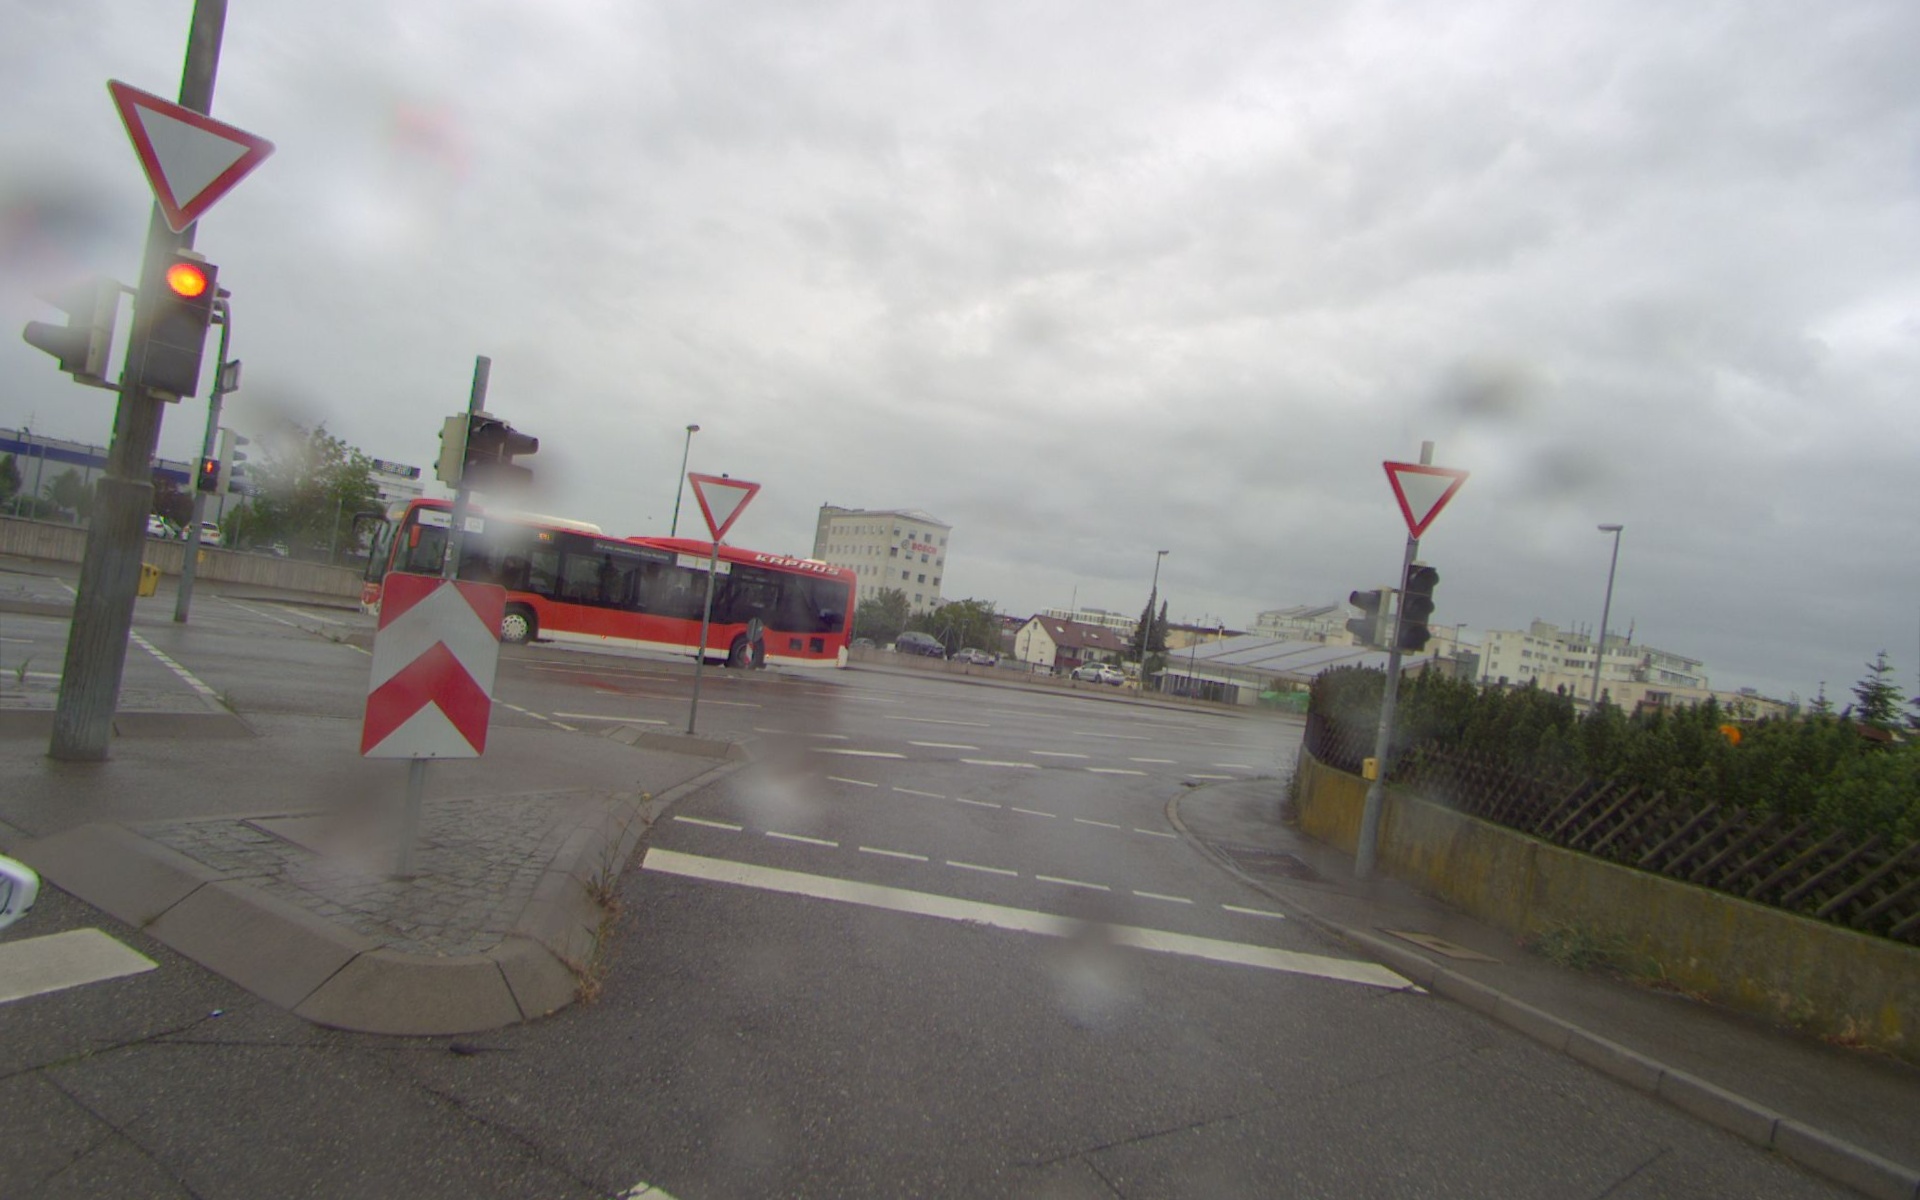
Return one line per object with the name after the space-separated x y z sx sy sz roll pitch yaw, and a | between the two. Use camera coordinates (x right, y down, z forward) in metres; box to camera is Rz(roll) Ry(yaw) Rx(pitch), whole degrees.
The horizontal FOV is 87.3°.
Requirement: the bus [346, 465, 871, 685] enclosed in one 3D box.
-8.305 -0.277 25.891 12.244 3.357 3.040 12 -3 -41 | bus

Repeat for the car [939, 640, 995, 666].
0.548 4.345 82.218 3.951 1.494 1.989 9 -2 -24 | car

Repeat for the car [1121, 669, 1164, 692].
18.132 7.999 99.934 3.760 1.771 1.887 9 -2 -29 | car

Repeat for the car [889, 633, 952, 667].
-2.470 3.069 61.949 1.983 1.495 3.964 9 -2 -34 | car

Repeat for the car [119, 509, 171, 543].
-45.614 -4.150 56.355 1.985 1.495 3.959 10 -2 -38 | car

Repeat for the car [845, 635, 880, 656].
-9.772 4.541 100.566 1.979 1.494 3.971 9 -2 -29 | car

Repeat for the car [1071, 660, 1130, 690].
9.740 5.229 70.046 1.979 1.494 3.971 9 -2 -29 | car

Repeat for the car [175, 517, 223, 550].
-43.894 -3.825 58.022 1.986 1.495 3.958 10 -2 -38 | car
